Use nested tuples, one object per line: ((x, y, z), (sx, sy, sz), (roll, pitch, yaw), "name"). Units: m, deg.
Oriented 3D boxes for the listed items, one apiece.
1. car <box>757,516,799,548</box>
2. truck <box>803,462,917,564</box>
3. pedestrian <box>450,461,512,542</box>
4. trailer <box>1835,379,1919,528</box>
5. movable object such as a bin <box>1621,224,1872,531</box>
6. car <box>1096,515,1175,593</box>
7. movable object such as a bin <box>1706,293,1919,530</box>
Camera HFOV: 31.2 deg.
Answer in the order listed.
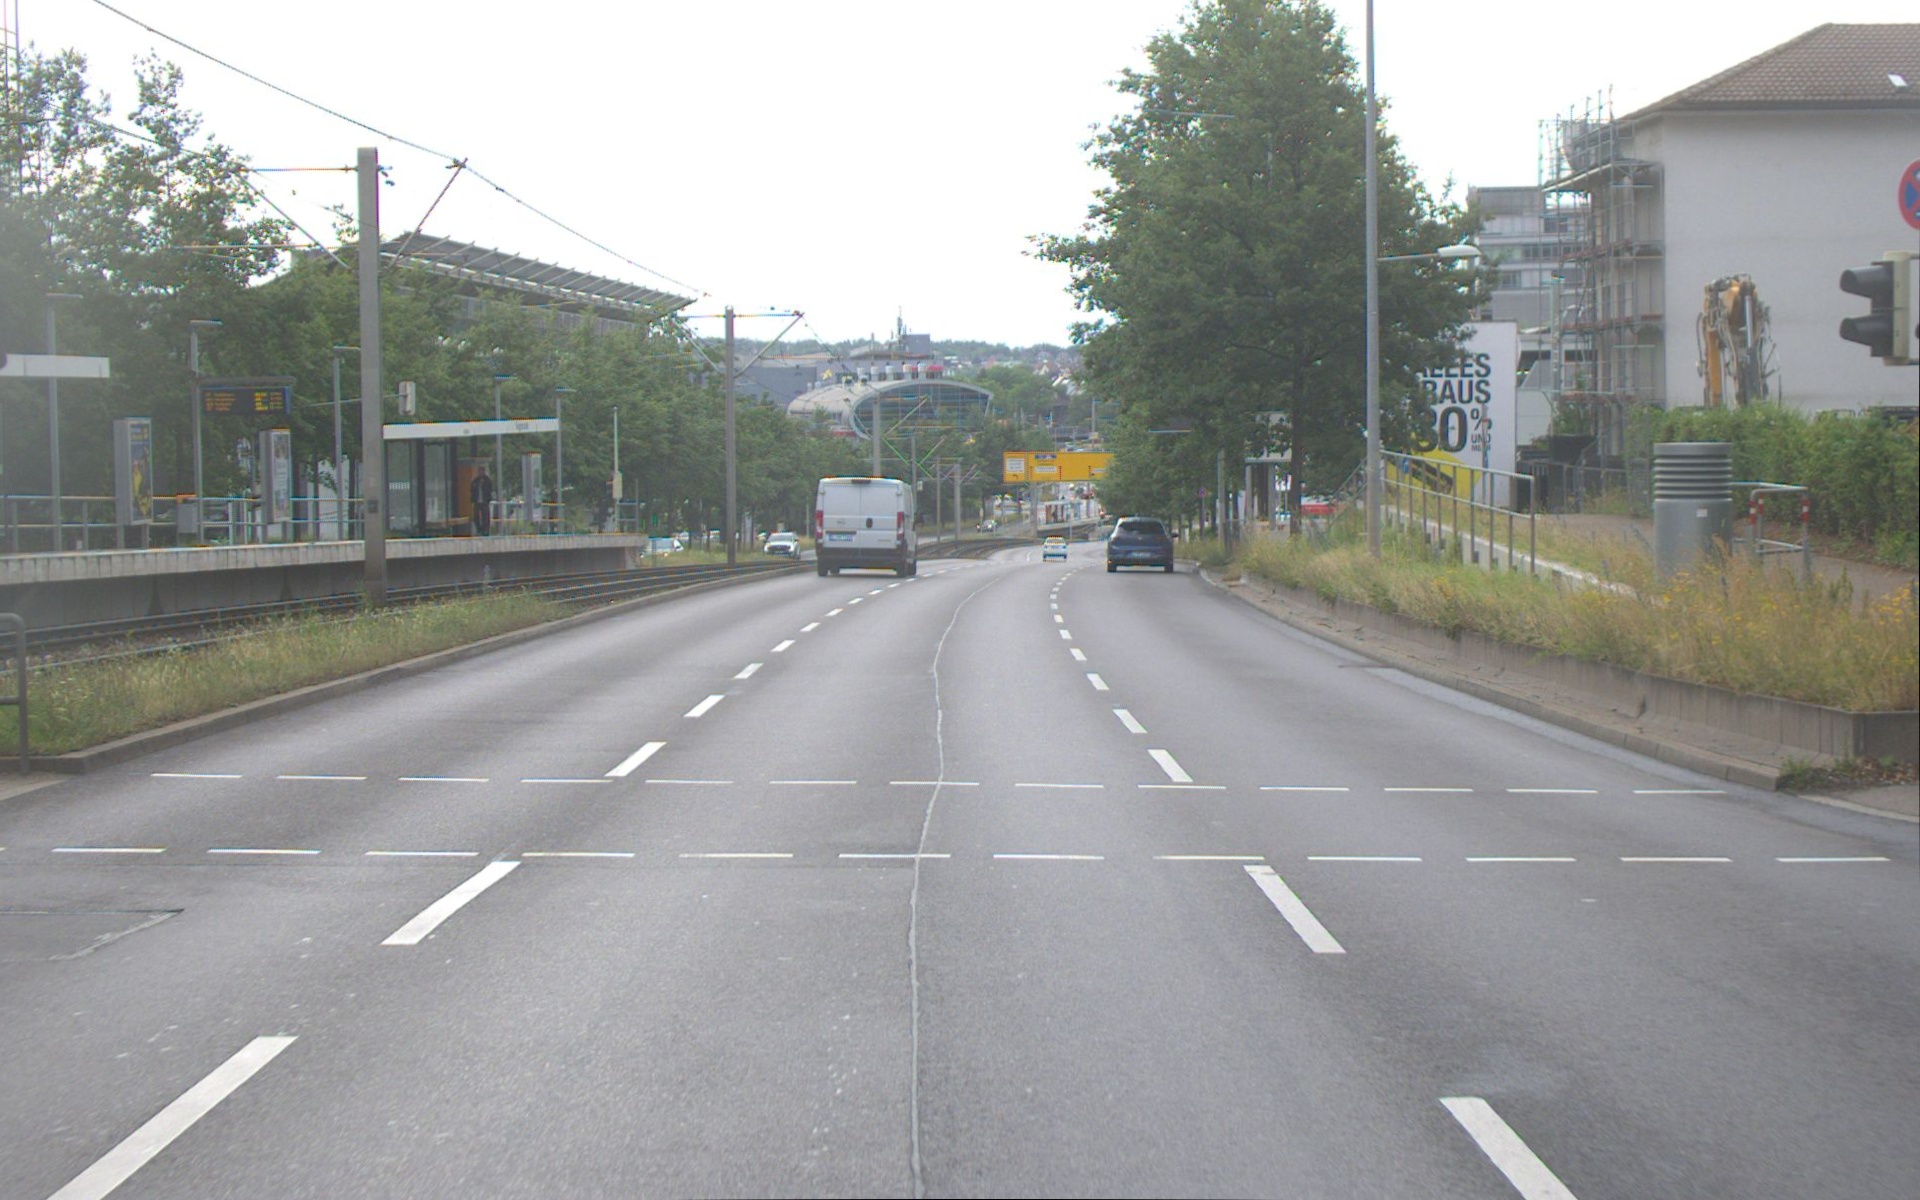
((-10.988, -4.145, 208.265), (1.994, 1.840, 5.002), (-2, 2, 3), "car")
((-2.271, -1.997, 79.556), (2.360, 2.254, 5.306), (1, 1, 1), "truck")
((-12.072, -2.469, 86.656), (1.266, 2.007, 1.130), (1, 1, 7), "pedestrian")
((21.174, -2.963, 69.824), (2.637, 3.032, 7.501), (1, 1, -22), "trailer")
((15.527, -4.249, 68.582), (3.290, 5.665, 8.763), (1, 1, 3), "movable object such as a bin")
((4.669, -1.229, 91.256), (1.994, 2.007, 3.934), (1, 1, 3), "car")
((23.733, -4.361, 79.331), (12.141, 5.243, 3.790), (-1, 1, 1), "movable object such as a bin")
